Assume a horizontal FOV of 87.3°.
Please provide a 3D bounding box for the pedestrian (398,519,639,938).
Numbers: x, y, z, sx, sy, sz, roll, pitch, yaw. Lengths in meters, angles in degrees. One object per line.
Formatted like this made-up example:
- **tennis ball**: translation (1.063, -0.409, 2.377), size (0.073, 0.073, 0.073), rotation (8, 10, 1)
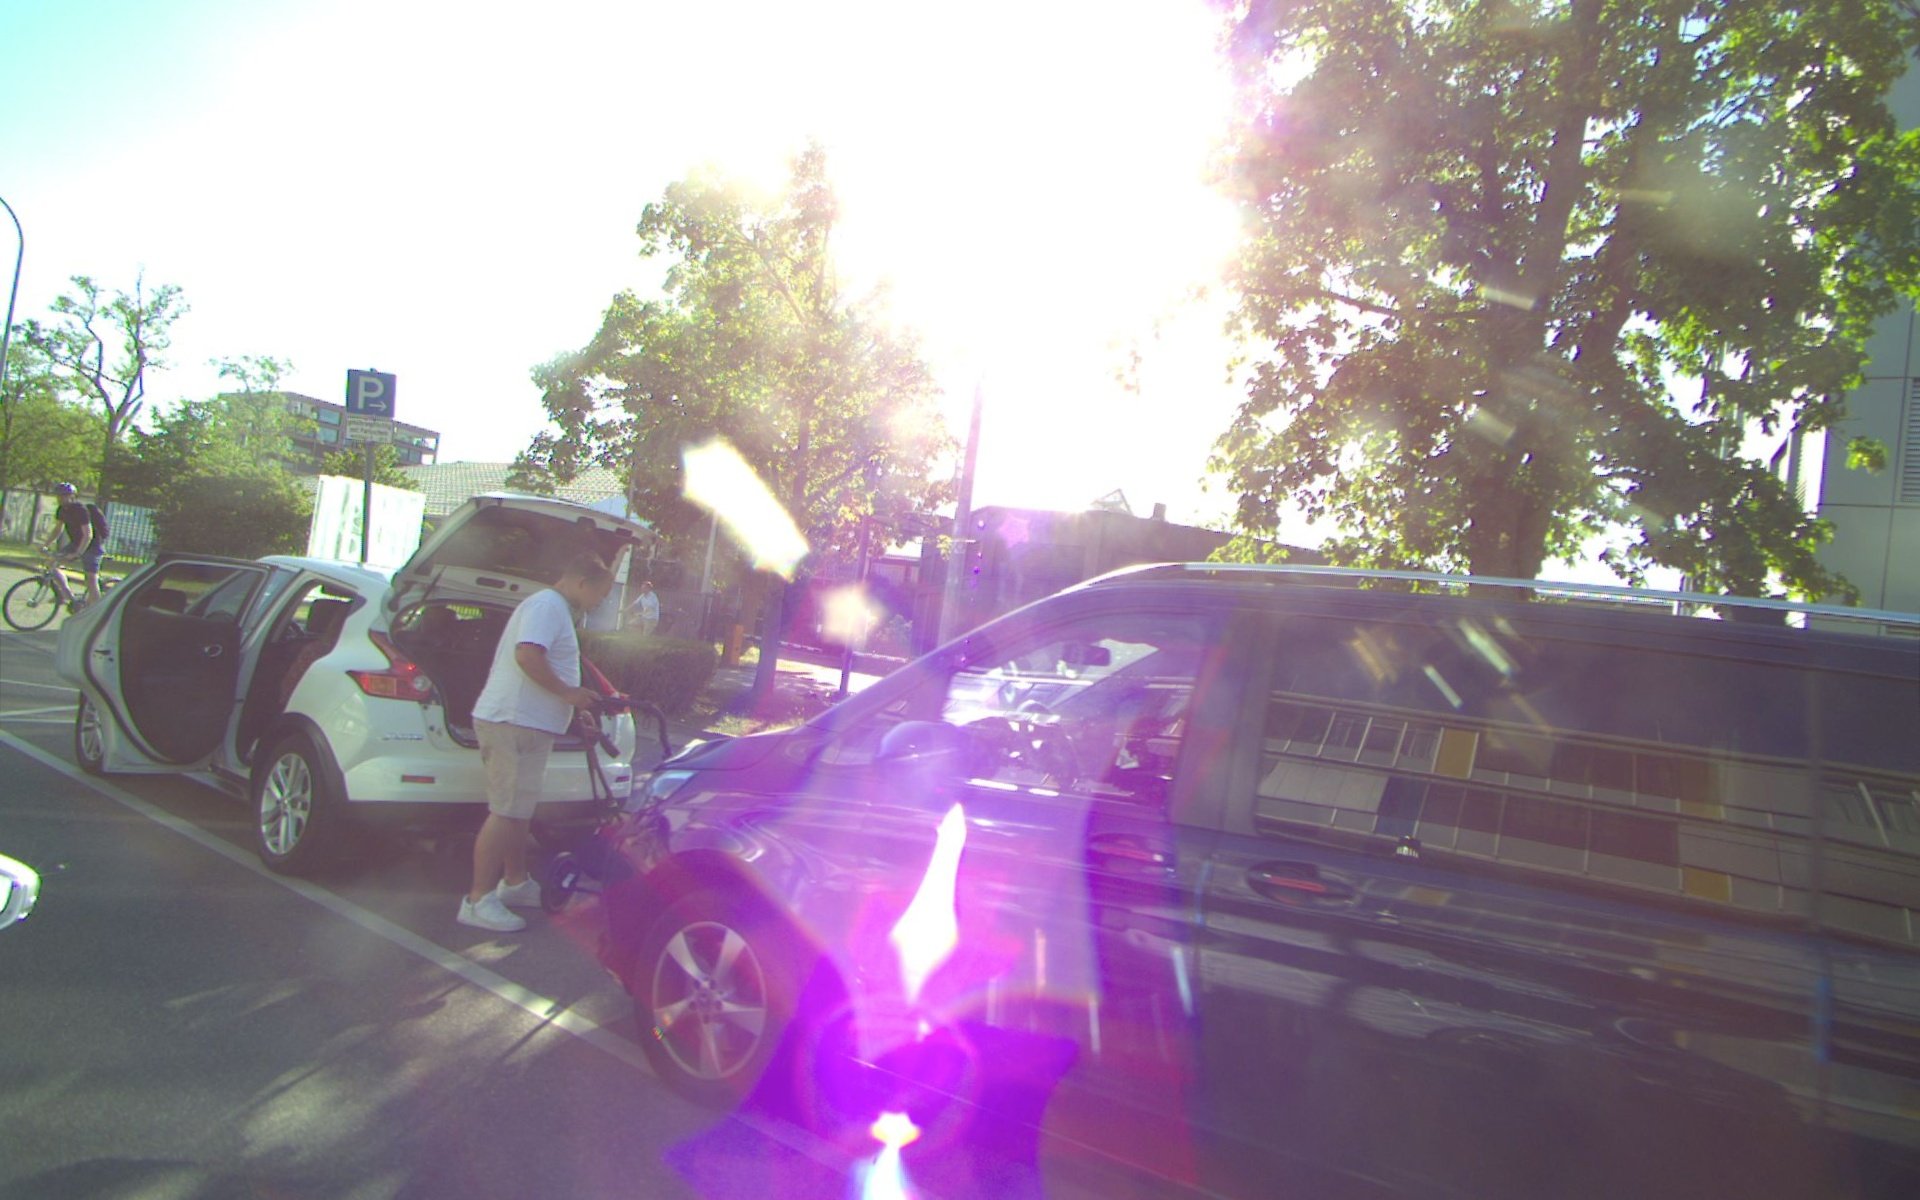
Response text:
- **pedestrian**: translation (-2.049, 0.562, 4.659), size (0.587, 1.764, 0.697), rotation (11, -4, -40)

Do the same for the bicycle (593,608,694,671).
- **bicycle**: translation (-6.897, 0.880, 22.007), size (1.891, 1.156, 0.659), rotation (9, -1, -43)

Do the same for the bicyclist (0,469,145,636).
- **bicyclist**: translation (-11.975, -0.608, 13.524), size (0.942, 2.038, 1.052), rotation (8, 1, -1)

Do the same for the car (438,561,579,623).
- **car**: translation (-17.374, -0.243, 39.004), size (1.965, 1.687, 4.644), rotation (7, -3, 27)

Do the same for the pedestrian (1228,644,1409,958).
- **pedestrian**: translation (2.271, 1.210, 6.353), size (0.763, 1.749, 0.692), rotation (7, 0, 31)

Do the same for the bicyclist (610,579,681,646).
- **bicyclist**: translation (-6.911, 0.275, 22.114), size (1.094, 1.282, 0.852), rotation (9, -2, -43)

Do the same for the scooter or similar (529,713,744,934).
- **scooter or similar**: translation (-1.630, 1.101, 5.056), size (0.690, 0.915, 0.697), rotation (12, -4, -40)

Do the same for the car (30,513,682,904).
- **car**: translation (-3.866, 0.502, 6.246), size (4.046, 1.529, 1.669), rotation (7, -4, 33)

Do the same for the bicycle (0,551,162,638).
- **bicycle**: translation (-12.036, -0.076, 13.770), size (0.689, 1.021, 1.884), rotation (8, 0, -3)

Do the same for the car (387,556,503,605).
- **car**: translation (-21.280, -0.782, 41.731), size (1.646, 1.395, 3.900), rotation (7, -3, 29)

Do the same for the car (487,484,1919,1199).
- **car**: translation (1.044, 0.911, 3.226), size (4.935, 1.889, 1.871), rotation (7, -4, 29)
